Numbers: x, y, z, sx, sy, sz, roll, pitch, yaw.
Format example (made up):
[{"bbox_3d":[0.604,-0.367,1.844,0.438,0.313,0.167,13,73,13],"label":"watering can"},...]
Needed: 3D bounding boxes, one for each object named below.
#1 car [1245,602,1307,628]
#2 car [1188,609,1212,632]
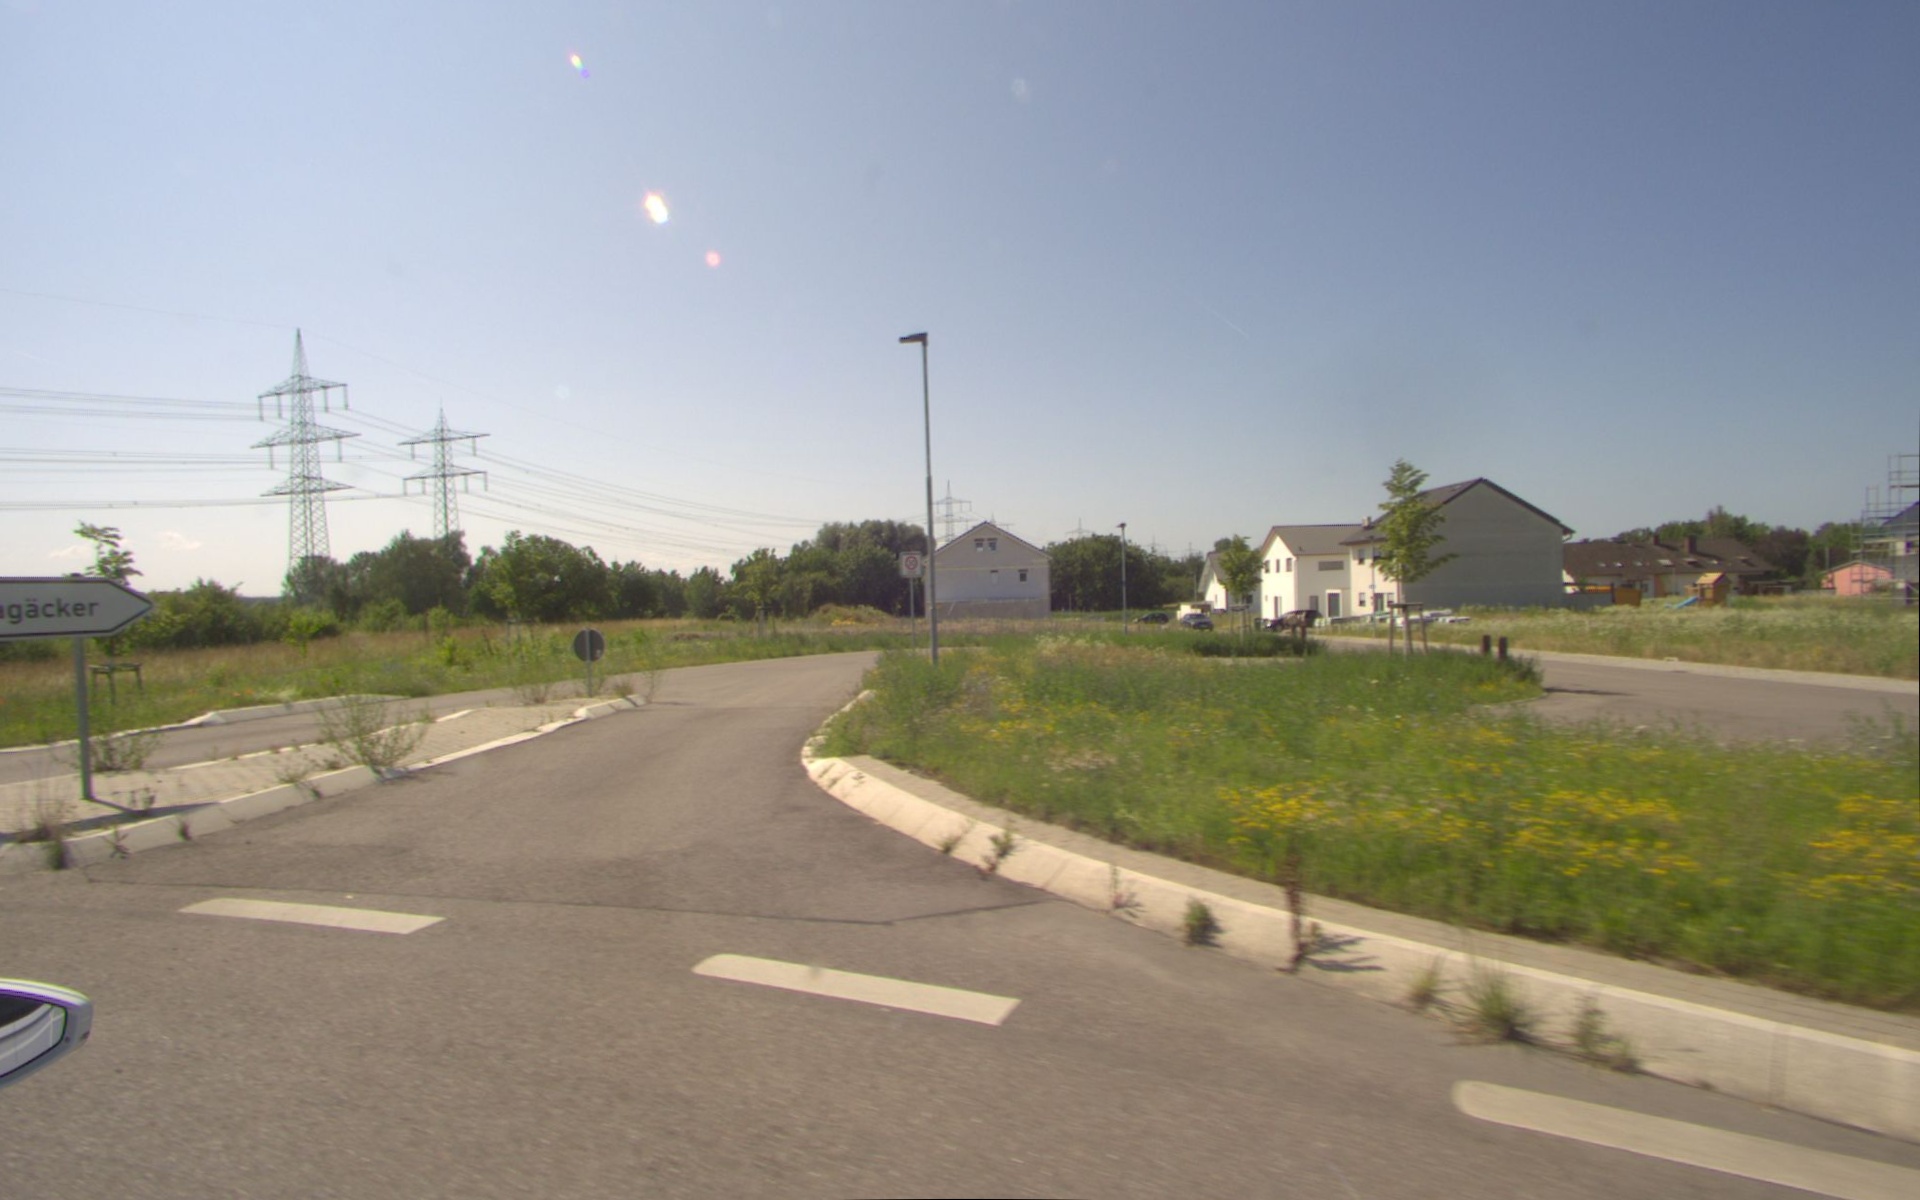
[{"bbox_3d":[23.221,1.107,73.780,3.922,1.817,2.000,-2,0,2],"label":"car"},{"bbox_3d":[18.913,1.634,78.979,1.650,1.683,3.486,-2,-1,10],"label":"car"}]
